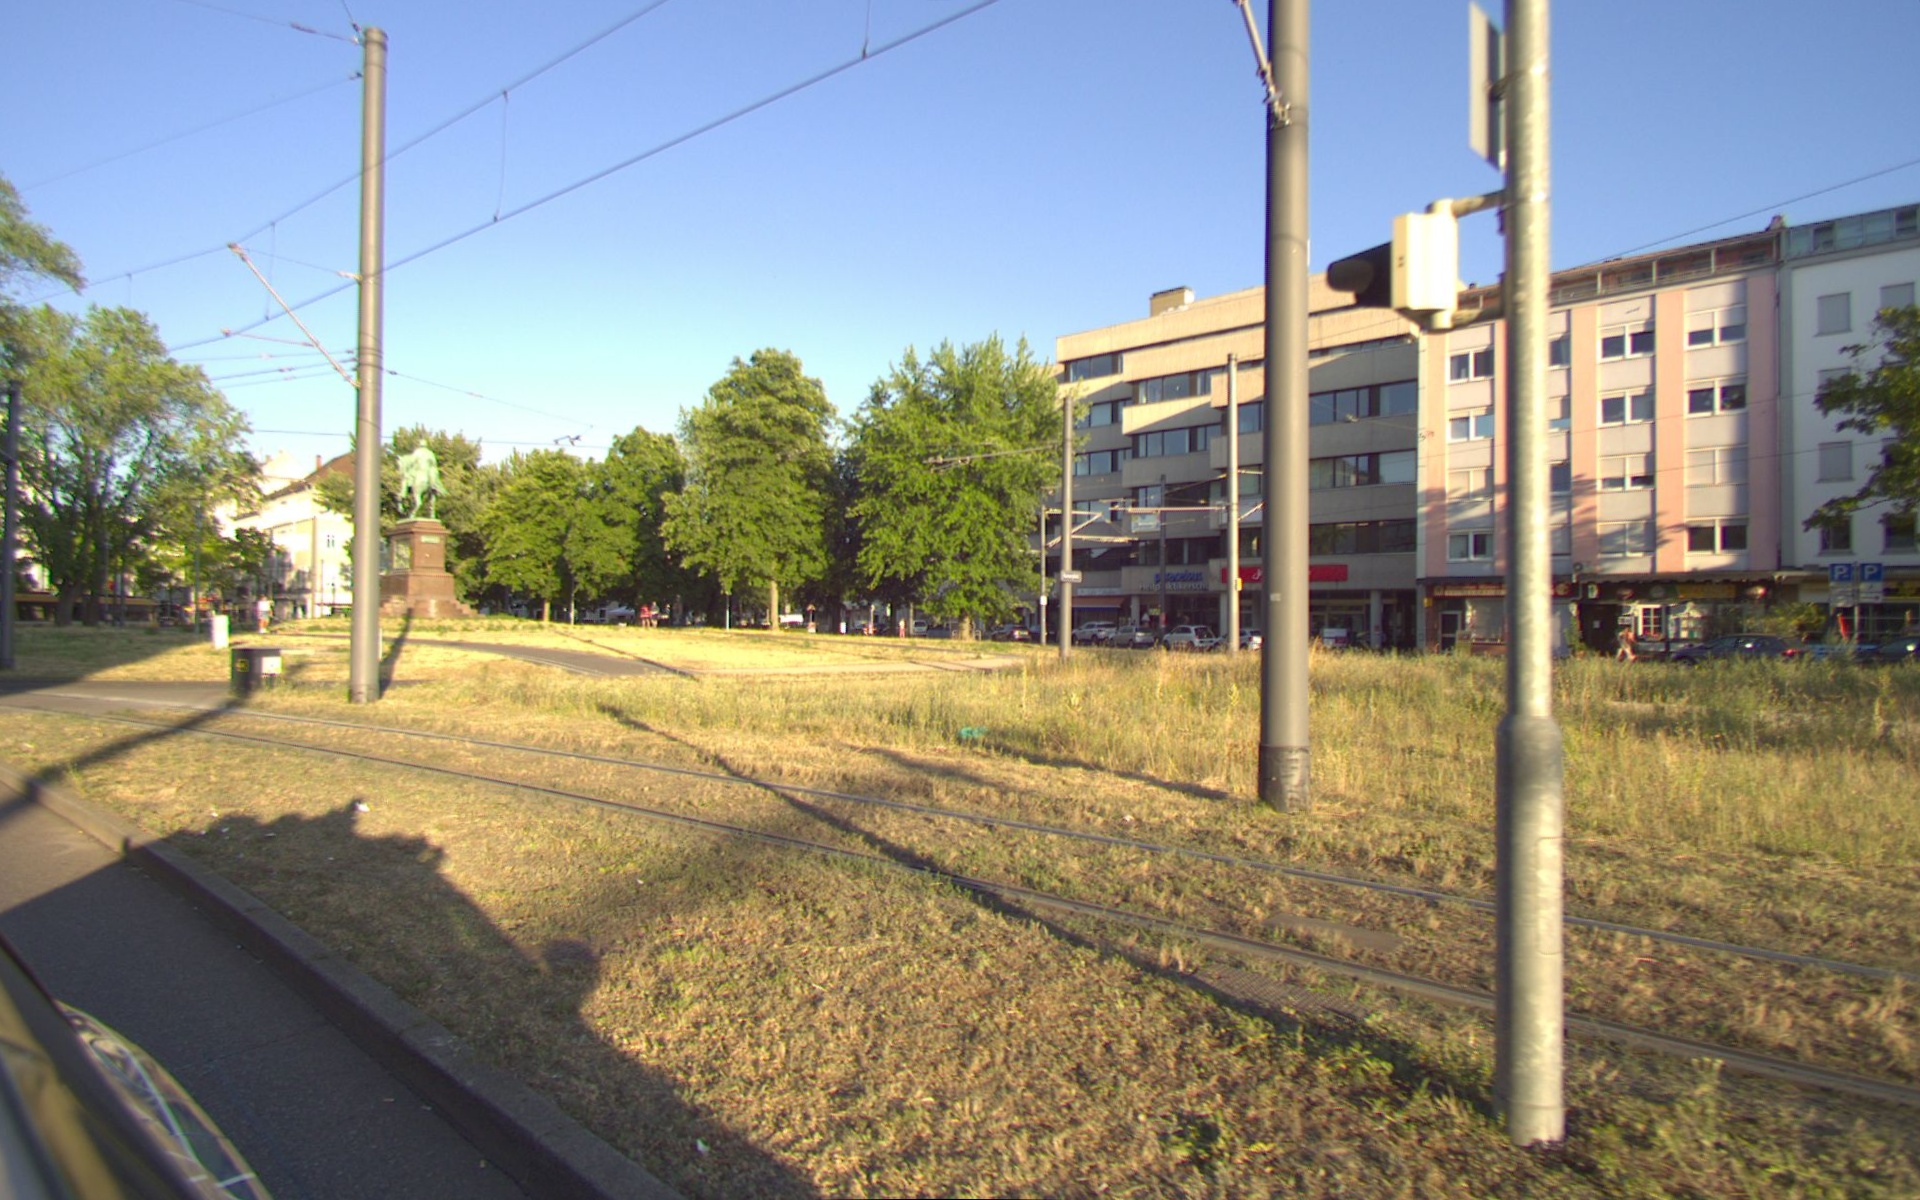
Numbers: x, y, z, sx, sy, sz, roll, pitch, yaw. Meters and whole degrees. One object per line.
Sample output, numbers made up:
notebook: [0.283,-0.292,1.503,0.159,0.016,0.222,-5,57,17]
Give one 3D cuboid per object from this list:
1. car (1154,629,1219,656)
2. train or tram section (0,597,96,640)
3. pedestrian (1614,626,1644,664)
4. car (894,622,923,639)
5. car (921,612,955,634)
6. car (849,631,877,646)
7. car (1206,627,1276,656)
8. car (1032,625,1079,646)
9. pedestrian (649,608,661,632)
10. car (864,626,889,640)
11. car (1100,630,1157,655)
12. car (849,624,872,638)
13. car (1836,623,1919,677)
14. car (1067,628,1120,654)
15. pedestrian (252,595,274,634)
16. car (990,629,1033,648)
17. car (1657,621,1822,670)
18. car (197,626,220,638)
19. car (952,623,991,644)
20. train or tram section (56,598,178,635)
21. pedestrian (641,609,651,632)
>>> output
car: [13.758,2.583,61.737,1.729,1.564,4.013,1,-3,-25]
train or tram section: [-73.362,1.451,79.211,2.884,3.165,12.887,0,-1,-12]
pedestrian: [27.610,1.866,41.769,0.853,1.540,1.107,-3,-3,40]
car: [-5.425,3.190,106.000,1.729,1.676,4.013,1,-3,-25]
car: [-2.175,2.262,98.705,1.729,1.959,4.222,1,-3,-25]
car: [-10.754,4.274,111.868,1.833,1.568,4.081,1,-3,-25]
car: [15.777,2.364,57.026,1.729,1.564,4.013,0,-3,-22]
car: [7.367,2.787,78.372,1.833,1.568,4.081,1,-3,-25]
pedestrian: [-20.931,1.384,69.513,0.553,1.593,0.611,-3,-4,44]
car: [-9.640,3.819,116.812,1.766,1.592,4.013,0,-3,-21]
car: [11.178,2.845,67.354,1.729,1.564,4.013,1,-3,-25]
car: [-12.109,3.766,122.818,1.766,1.592,4.013,0,-3,-21]
car: [28.381,1.426,29.198,1.729,1.538,4.305,1,-3,-25]
car: [9.495,2.946,72.244,1.729,1.808,4.222,1,-3,-25]
pedestrian: [-30.691,0.627,44.562,0.832,1.703,0.472,-1,-2,28]
car: [3.900,2.962,77.658,1.681,1.401,4.013,0,-3,-23]
car: [26.295,1.537,34.292,1.729,1.538,4.013,1,-3,-25]
car: [-99.347,4.275,133.734,3.967,1.564,1.700,-3,-3,43]
car: [1.062,3.072,92.799,1.906,1.808,4.222,1,-3,-25]
train or tram section: [-76.012,1.480,91.714,2.878,3.165,12.675,0,-1,-12]
pedestrian: [-21.606,1.414,69.547,0.553,1.524,0.447,-3,-4,44]
